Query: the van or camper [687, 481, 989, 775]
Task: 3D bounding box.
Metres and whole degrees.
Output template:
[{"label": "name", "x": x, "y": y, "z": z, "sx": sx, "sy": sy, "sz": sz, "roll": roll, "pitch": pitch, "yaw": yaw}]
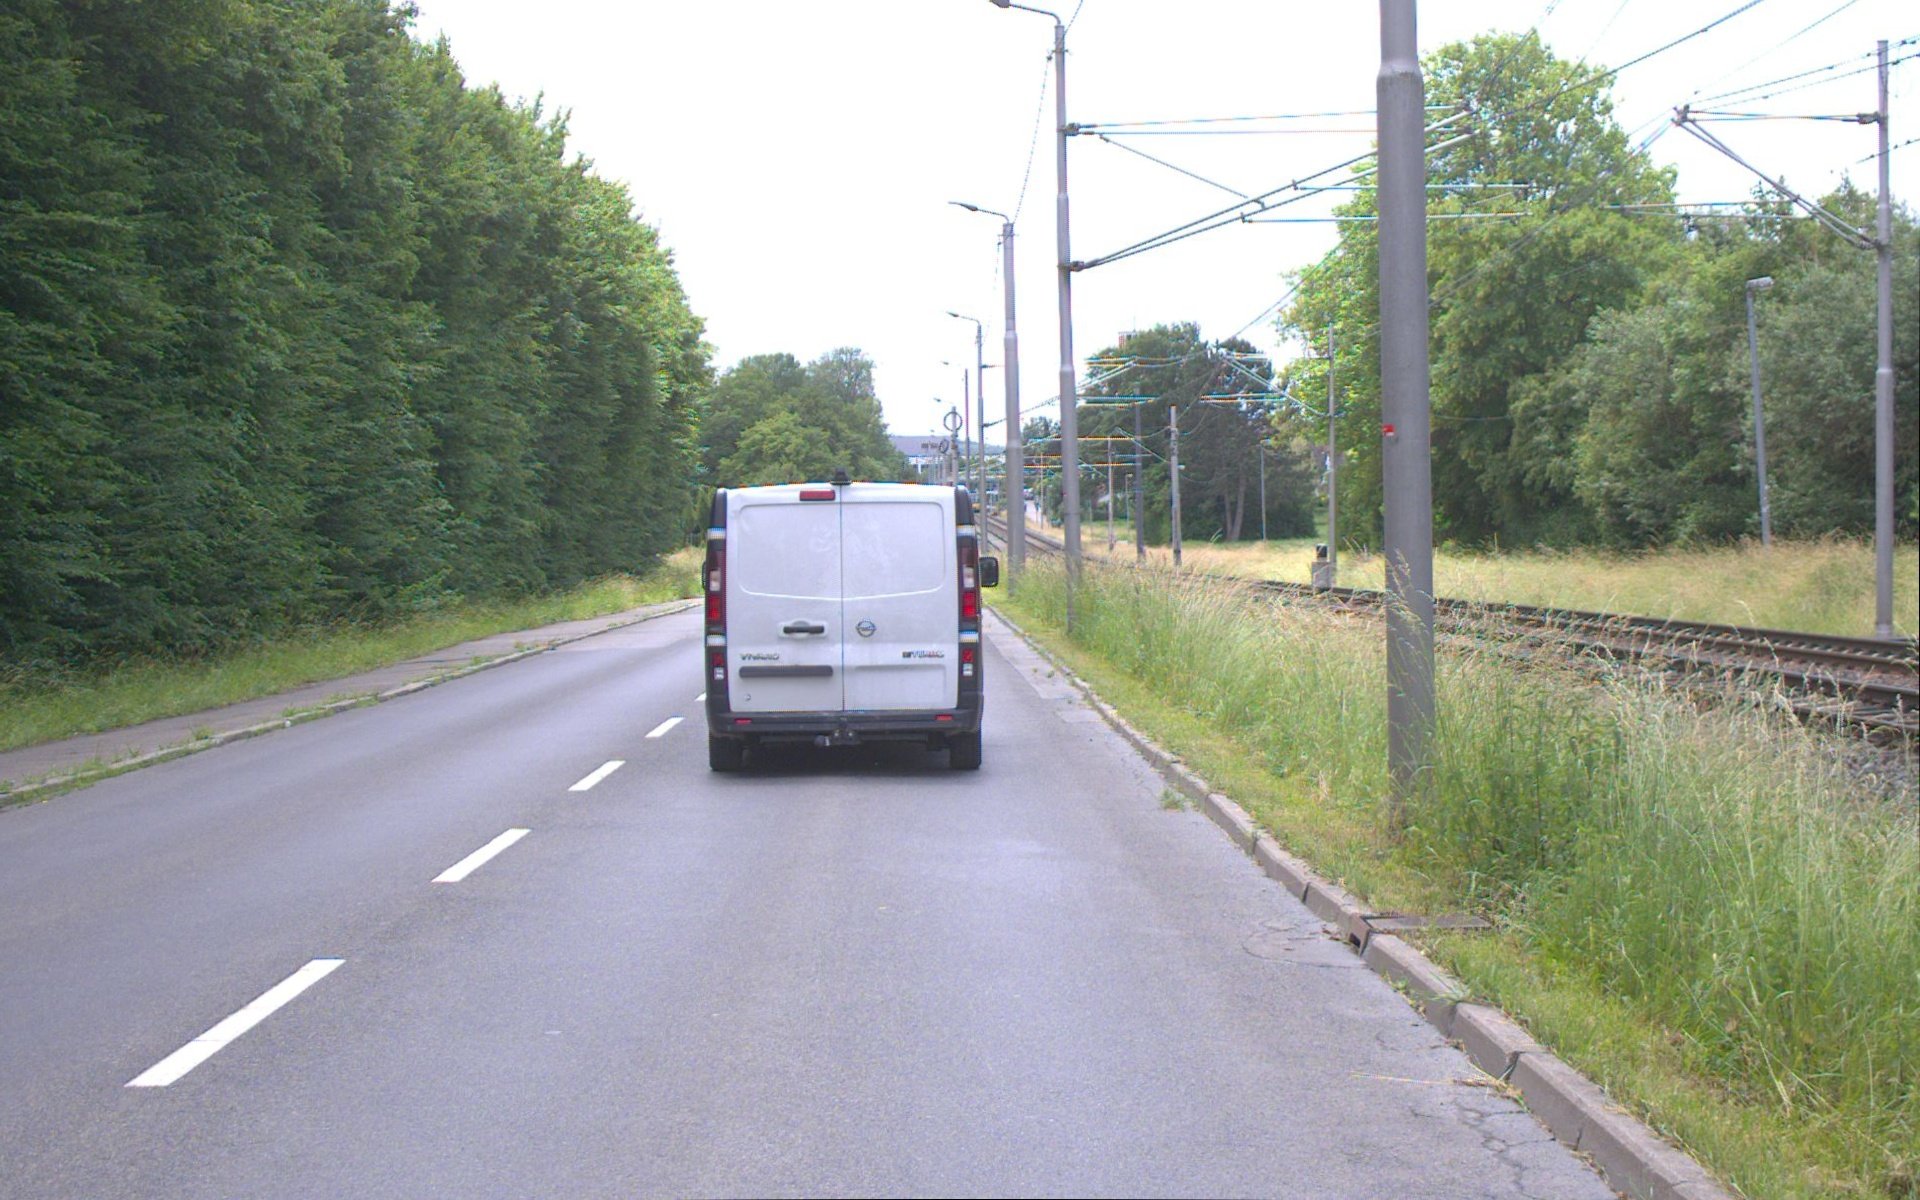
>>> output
[{"label": "van or camper", "x": -0.846, "y": 0.136, "z": 24.379, "sx": 1.942, "sy": 1.890, "sz": 4.285, "roll": 0, "pitch": 1, "yaw": -2}]
